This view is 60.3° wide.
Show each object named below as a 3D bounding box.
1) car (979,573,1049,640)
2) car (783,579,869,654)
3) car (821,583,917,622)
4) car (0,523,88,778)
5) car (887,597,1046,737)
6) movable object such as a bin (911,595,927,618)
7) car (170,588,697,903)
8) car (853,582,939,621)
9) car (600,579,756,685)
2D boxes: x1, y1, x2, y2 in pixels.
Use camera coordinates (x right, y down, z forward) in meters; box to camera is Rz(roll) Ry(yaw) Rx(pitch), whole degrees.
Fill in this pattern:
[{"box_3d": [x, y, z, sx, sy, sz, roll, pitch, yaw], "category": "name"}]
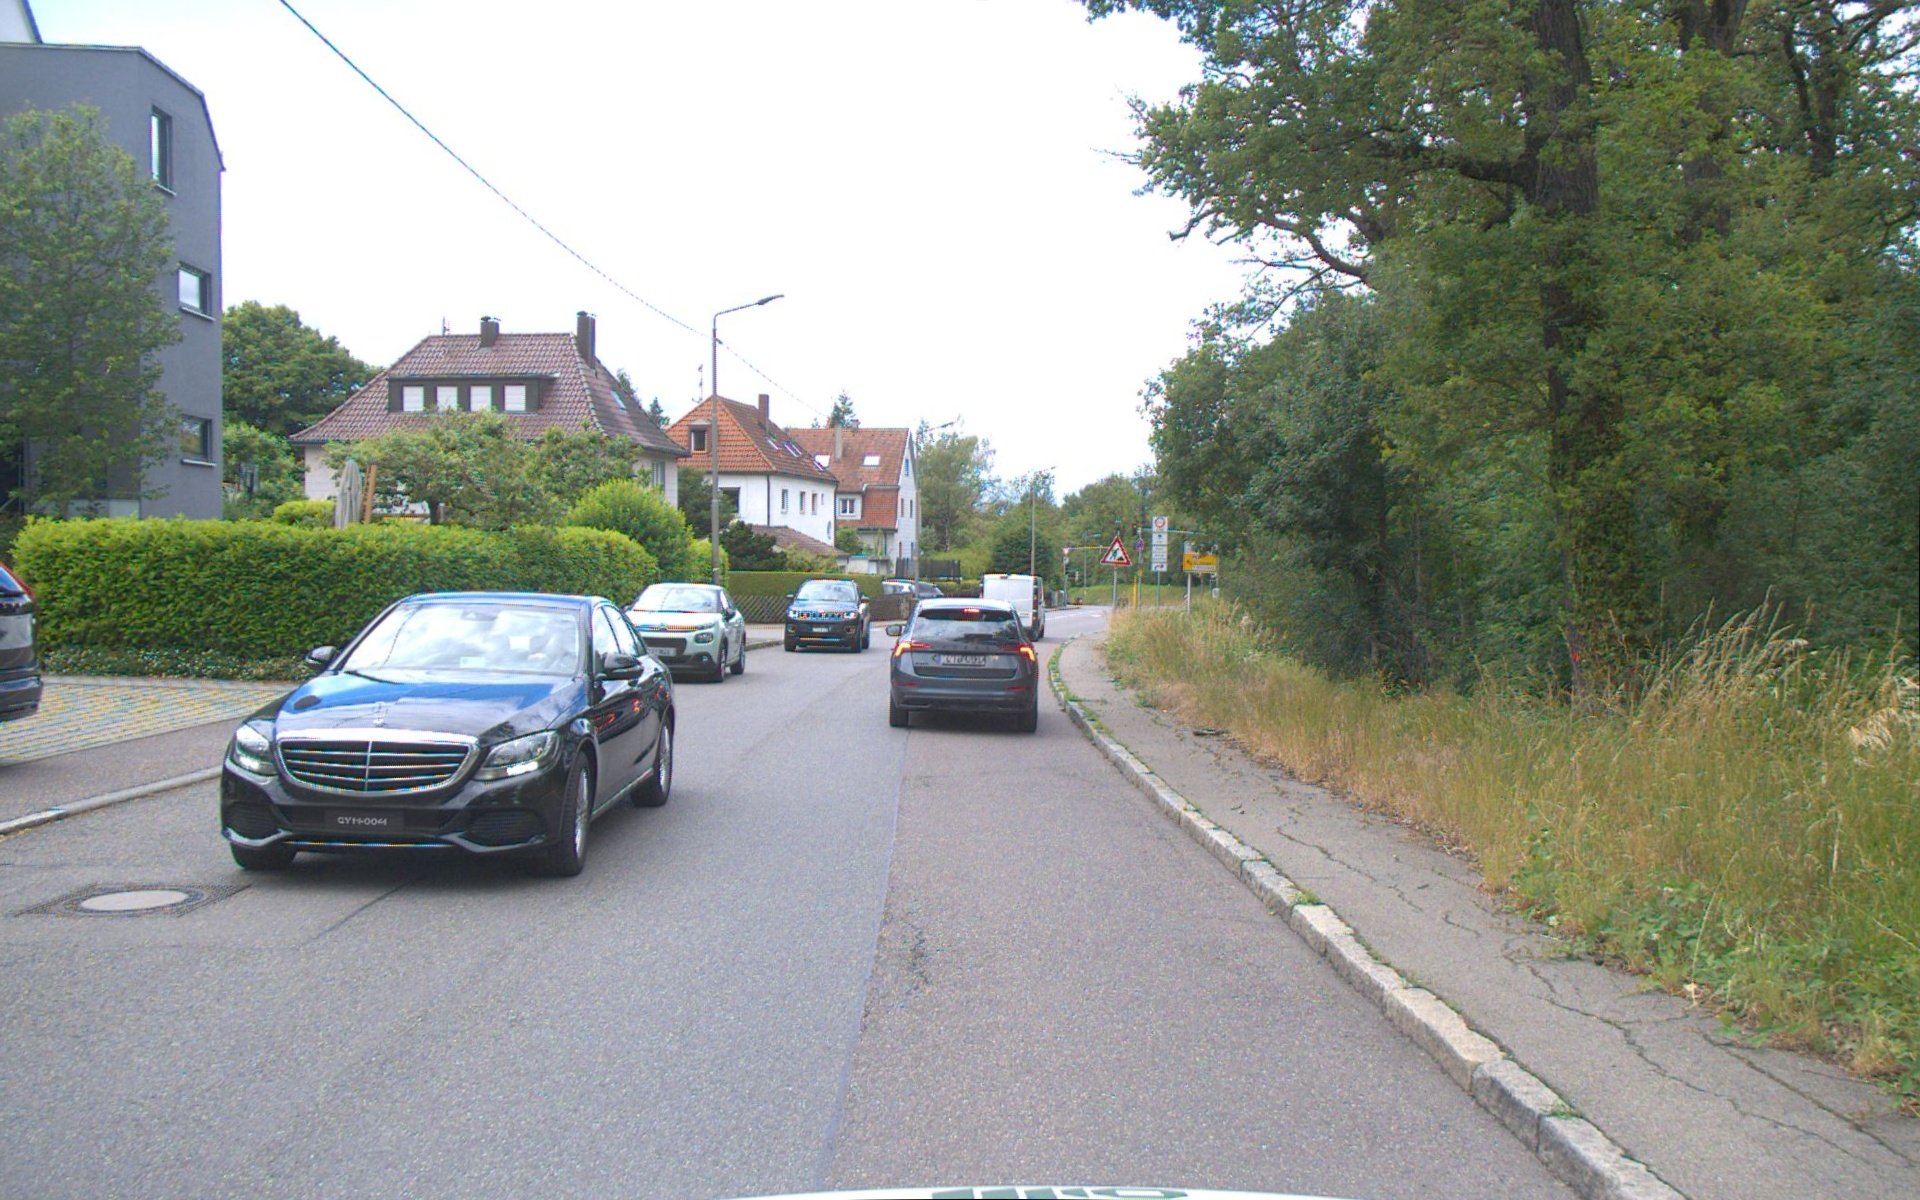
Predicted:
[{"box_3d": [1.730, 0.181, 51.570, 2.028, 1.956, 4.924, 1, 0, 3], "category": "car"}, {"box_3d": [-3.133, 0.345, 39.374, 1.796, 1.625, 4.322, 1, 1, -2], "category": "car"}, {"box_3d": [-3.981, 0.082, 72.810, 3.902, 1.646, 2.002, 1, 0, 8], "category": "car"}, {"box_3d": [-8.784, 0.324, 11.312, 4.525, 1.727, 1.998, 0, 0, -5], "category": "car"}, {"box_3d": [0.013, 0.728, 20.103, 1.693, 1.464, 4.322, 1, 0, -2], "category": "car"}, {"box_3d": [-1.697, 0.271, 69.160, 0.586, 0.967, 0.580, 1, 0, 6], "category": "movable object such as a bin"}, {"box_3d": [-2.835, 0.684, 10.079, 1.825, 1.439, 4.590, 2, 0, -2], "category": "car"}, {"box_3d": [-2.976, 0.059, 77.795, 3.904, 1.735, 1.917, 1, 0, 1], "category": "car"}, {"box_3d": [-4.422, 0.477, 26.527, 1.747, 1.526, 4.015, 2, 0, 0], "category": "car"}]
